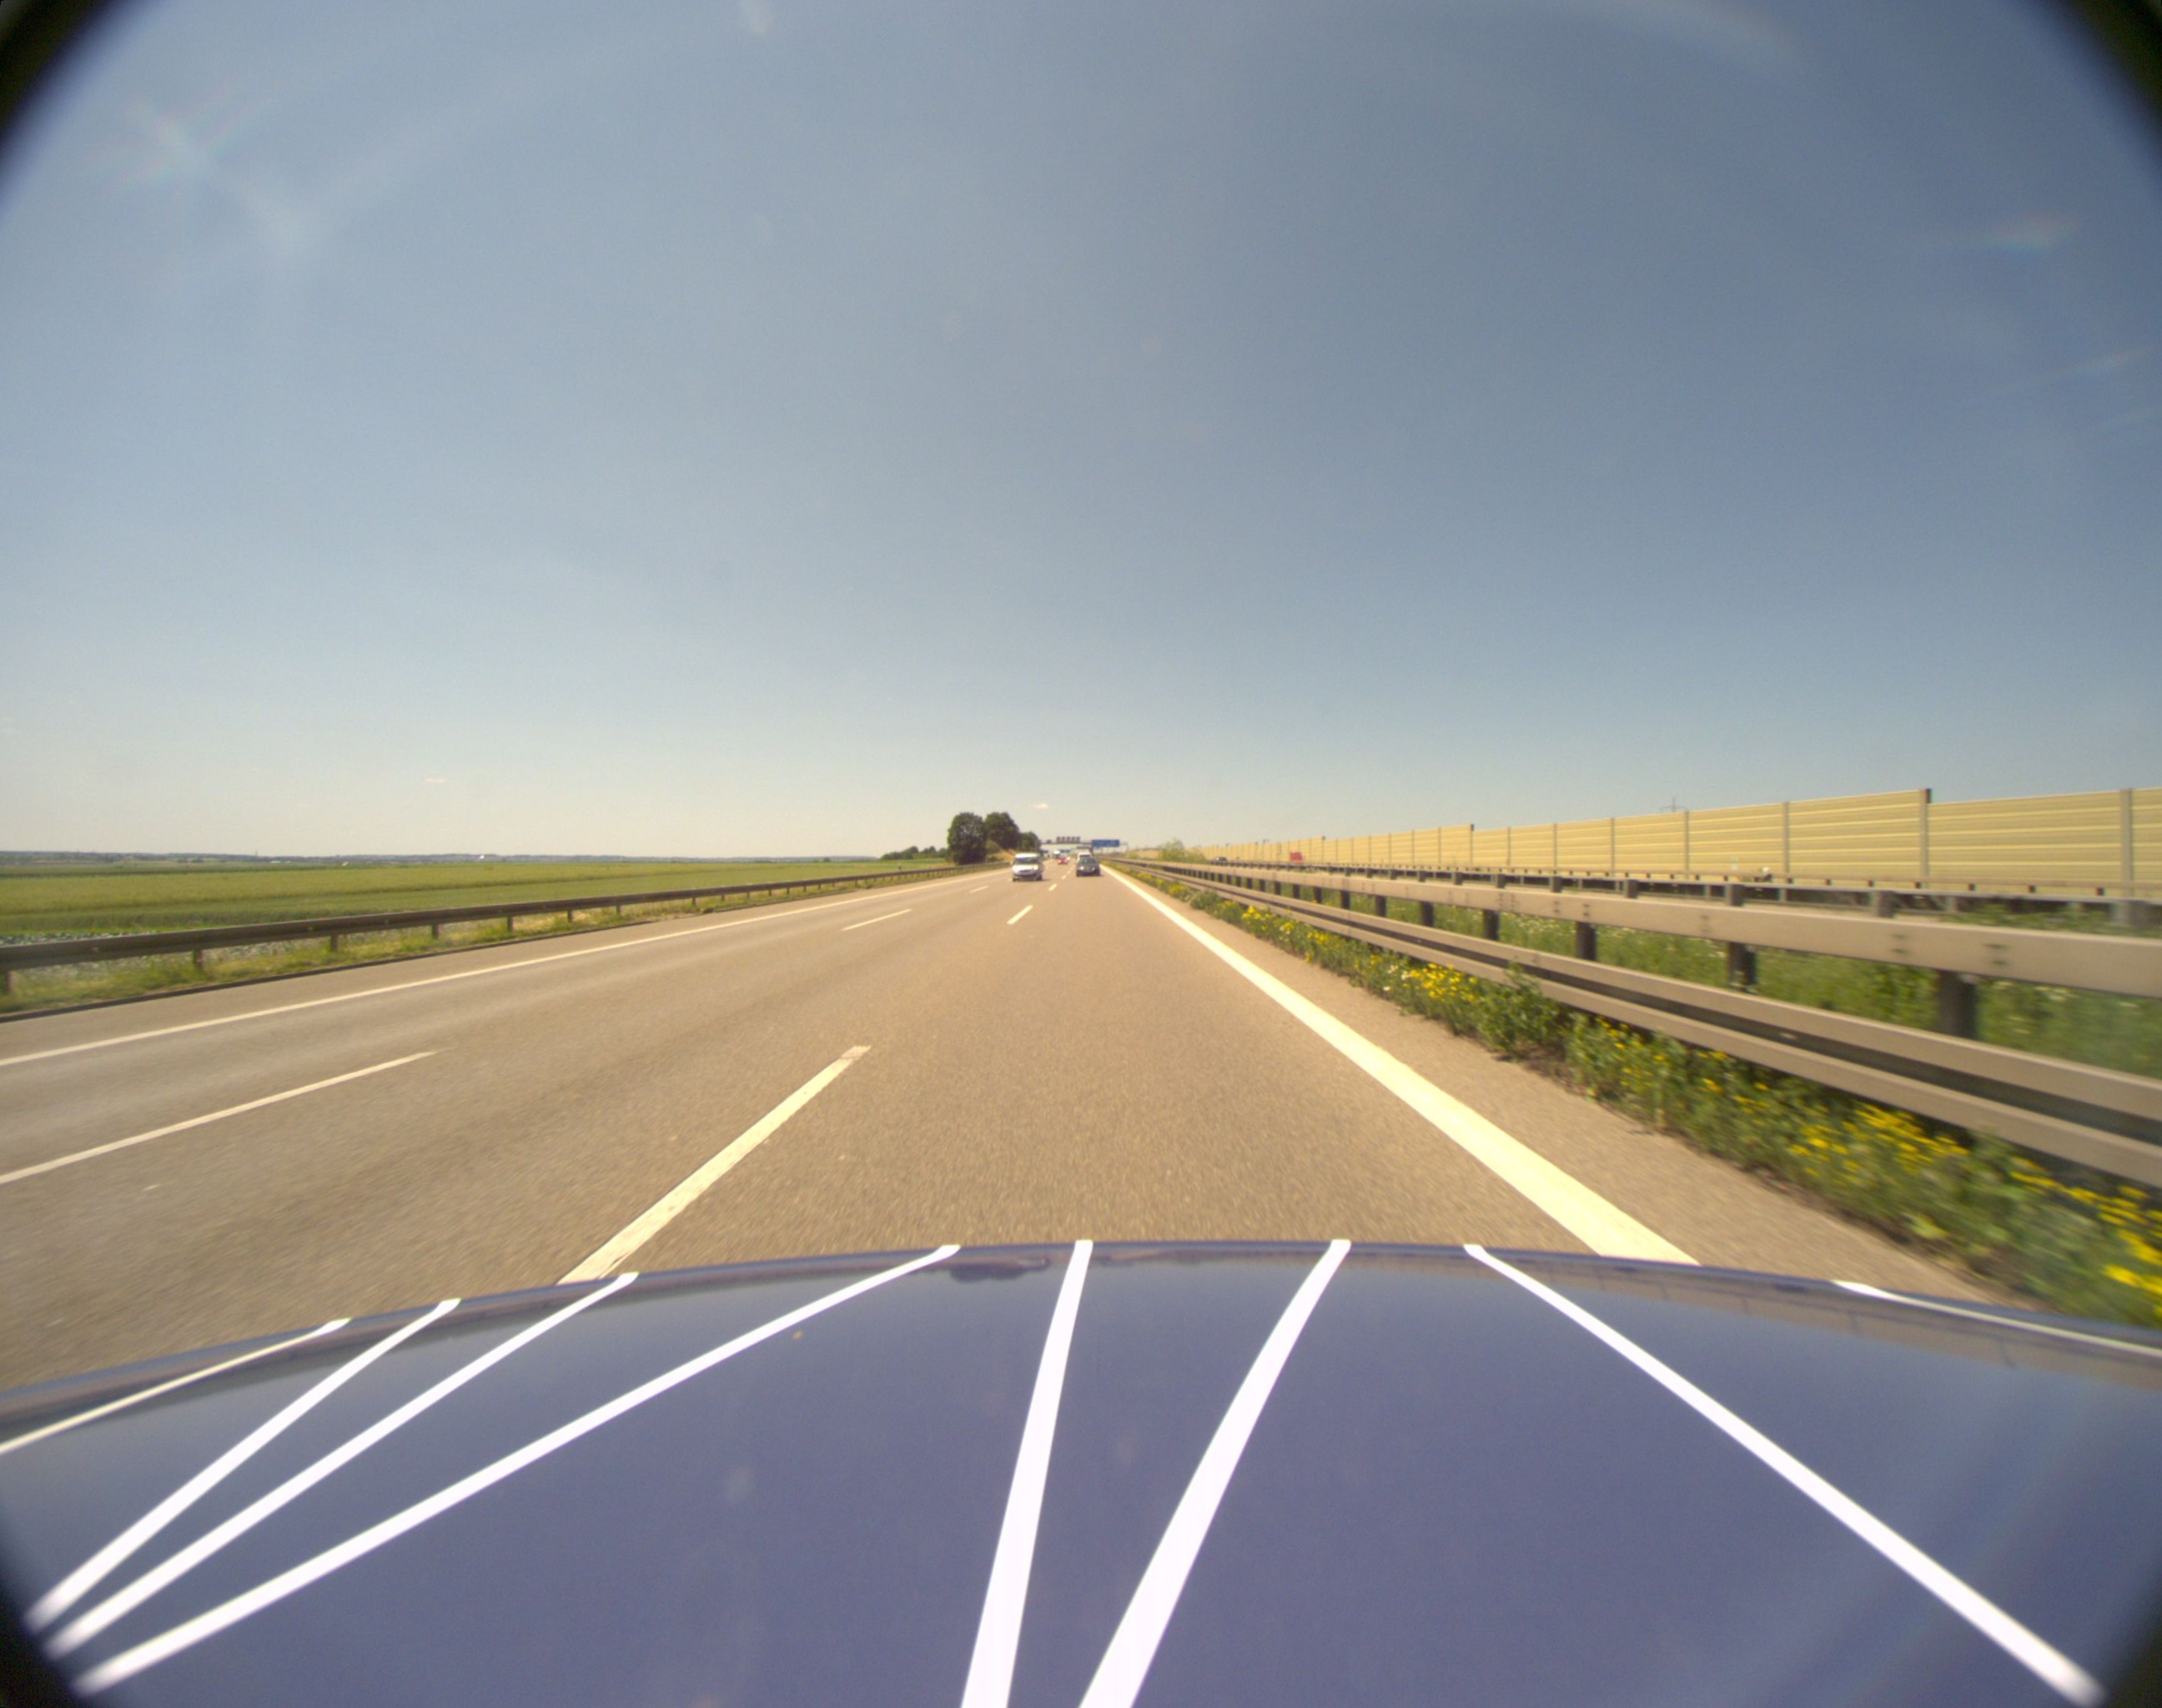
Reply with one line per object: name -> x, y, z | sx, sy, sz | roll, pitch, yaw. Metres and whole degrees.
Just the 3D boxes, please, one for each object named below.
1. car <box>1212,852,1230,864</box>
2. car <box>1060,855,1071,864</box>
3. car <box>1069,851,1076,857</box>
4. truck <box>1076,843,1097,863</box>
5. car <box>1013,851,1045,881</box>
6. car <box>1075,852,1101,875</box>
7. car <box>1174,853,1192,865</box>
car -> 19.086, 0.538, 103.657 | 1.722, 1.401, 4.484 | -2, 1, 1
car -> -2.847, 0.998, 139.837 | 1.723, 1.514, 3.582 | -2, 1, 2
car -> -2.386, 0.021, 203.534 | 1.723, 1.514, 3.581 | -2, 1, -1
truck -> 0.671, -0.106, 97.111 | 2.333, 2.378, 6.685 | -2, 1, -1
car -> -3.415, 0.745, 50.984 | 1.812, 1.836, 5.311 | -2, 0, -1
car -> 0.498, 0.671, 57.774 | 1.715, 1.586, 4.546 | -4, 0, -1
car -> 14.778, 0.700, 110.394 | 1.998, 1.585, 5.306 | 0, 1, 1
